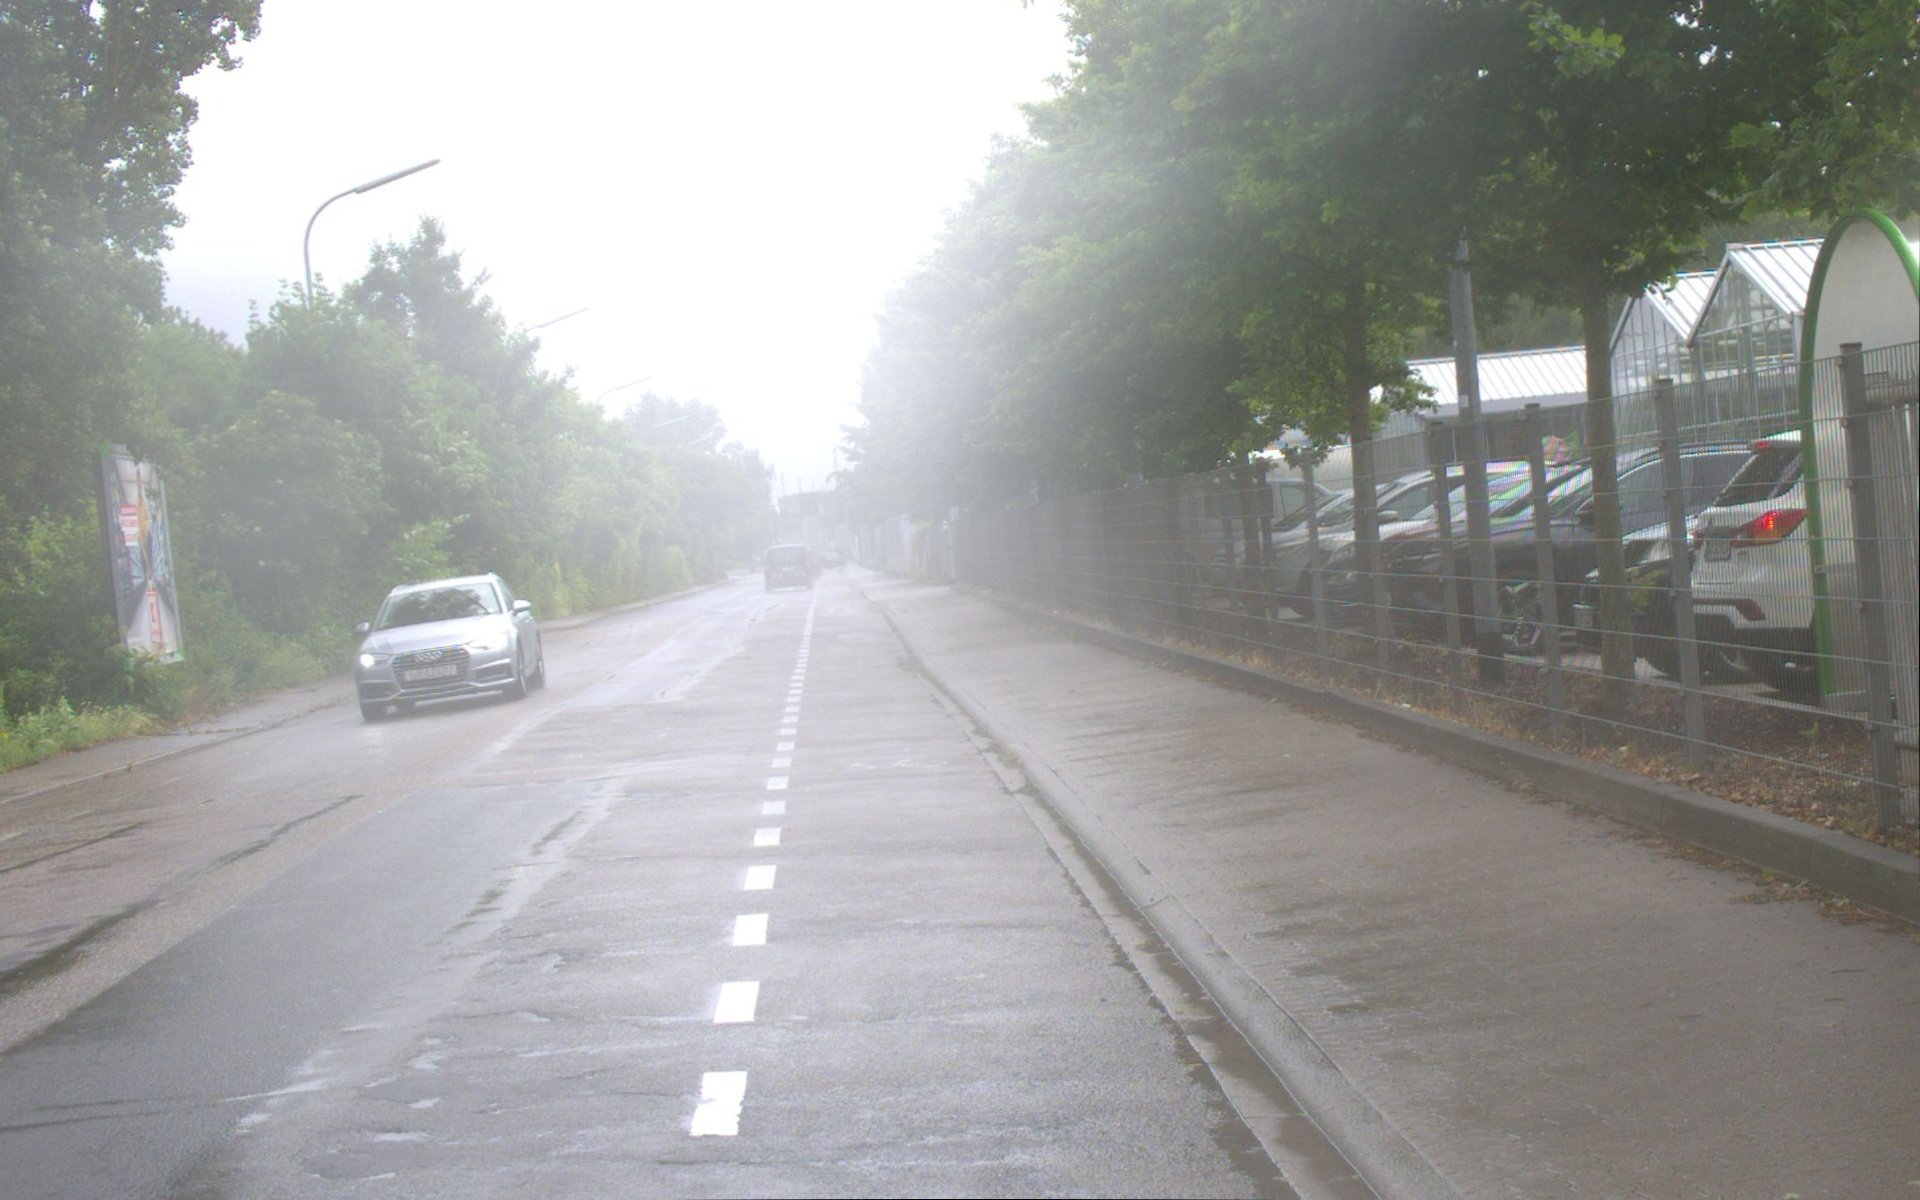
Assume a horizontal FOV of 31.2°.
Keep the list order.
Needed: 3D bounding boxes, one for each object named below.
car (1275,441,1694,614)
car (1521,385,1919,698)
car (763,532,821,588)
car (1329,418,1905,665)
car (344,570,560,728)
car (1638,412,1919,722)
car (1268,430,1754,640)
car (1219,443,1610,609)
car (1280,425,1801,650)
[{"bbox_3d":[5.891,-0.821,38.841,4.207,1.528,1.824,-5,1,-9],"label":"car"},{"bbox_3d":[6.086,-0.489,22.694,4.207,1.788,1.824,-5,1,-9],"label":"car"},{"bbox_3d":[-6.434,-1.503,131.775,1.993,1.904,4.201,-6,0,-3],"label":"car"},{"bbox_3d":[5.409,-0.492,28.538,4.207,1.612,1.824,-5,1,-9],"label":"car"},{"bbox_3d":[-5.757,0.508,39.422,1.733,1.445,4.381,-8,1,-1],"label":"car"},{"bbox_3d":[6.277,-0.347,19.809,4.208,1.595,1.824,-5,1,-3],"label":"car"},{"bbox_3d":[5.338,-0.638,33.551,4.207,1.612,1.824,-5,1,-9],"label":"car"},{"bbox_3d":[5.454,-0.888,41.484,4.207,1.583,1.824,-5,1,-9],"label":"car"},{"bbox_3d":[5.264,-0.576,31.407,4.207,1.612,1.824,-5,1,-9],"label":"car"}]
